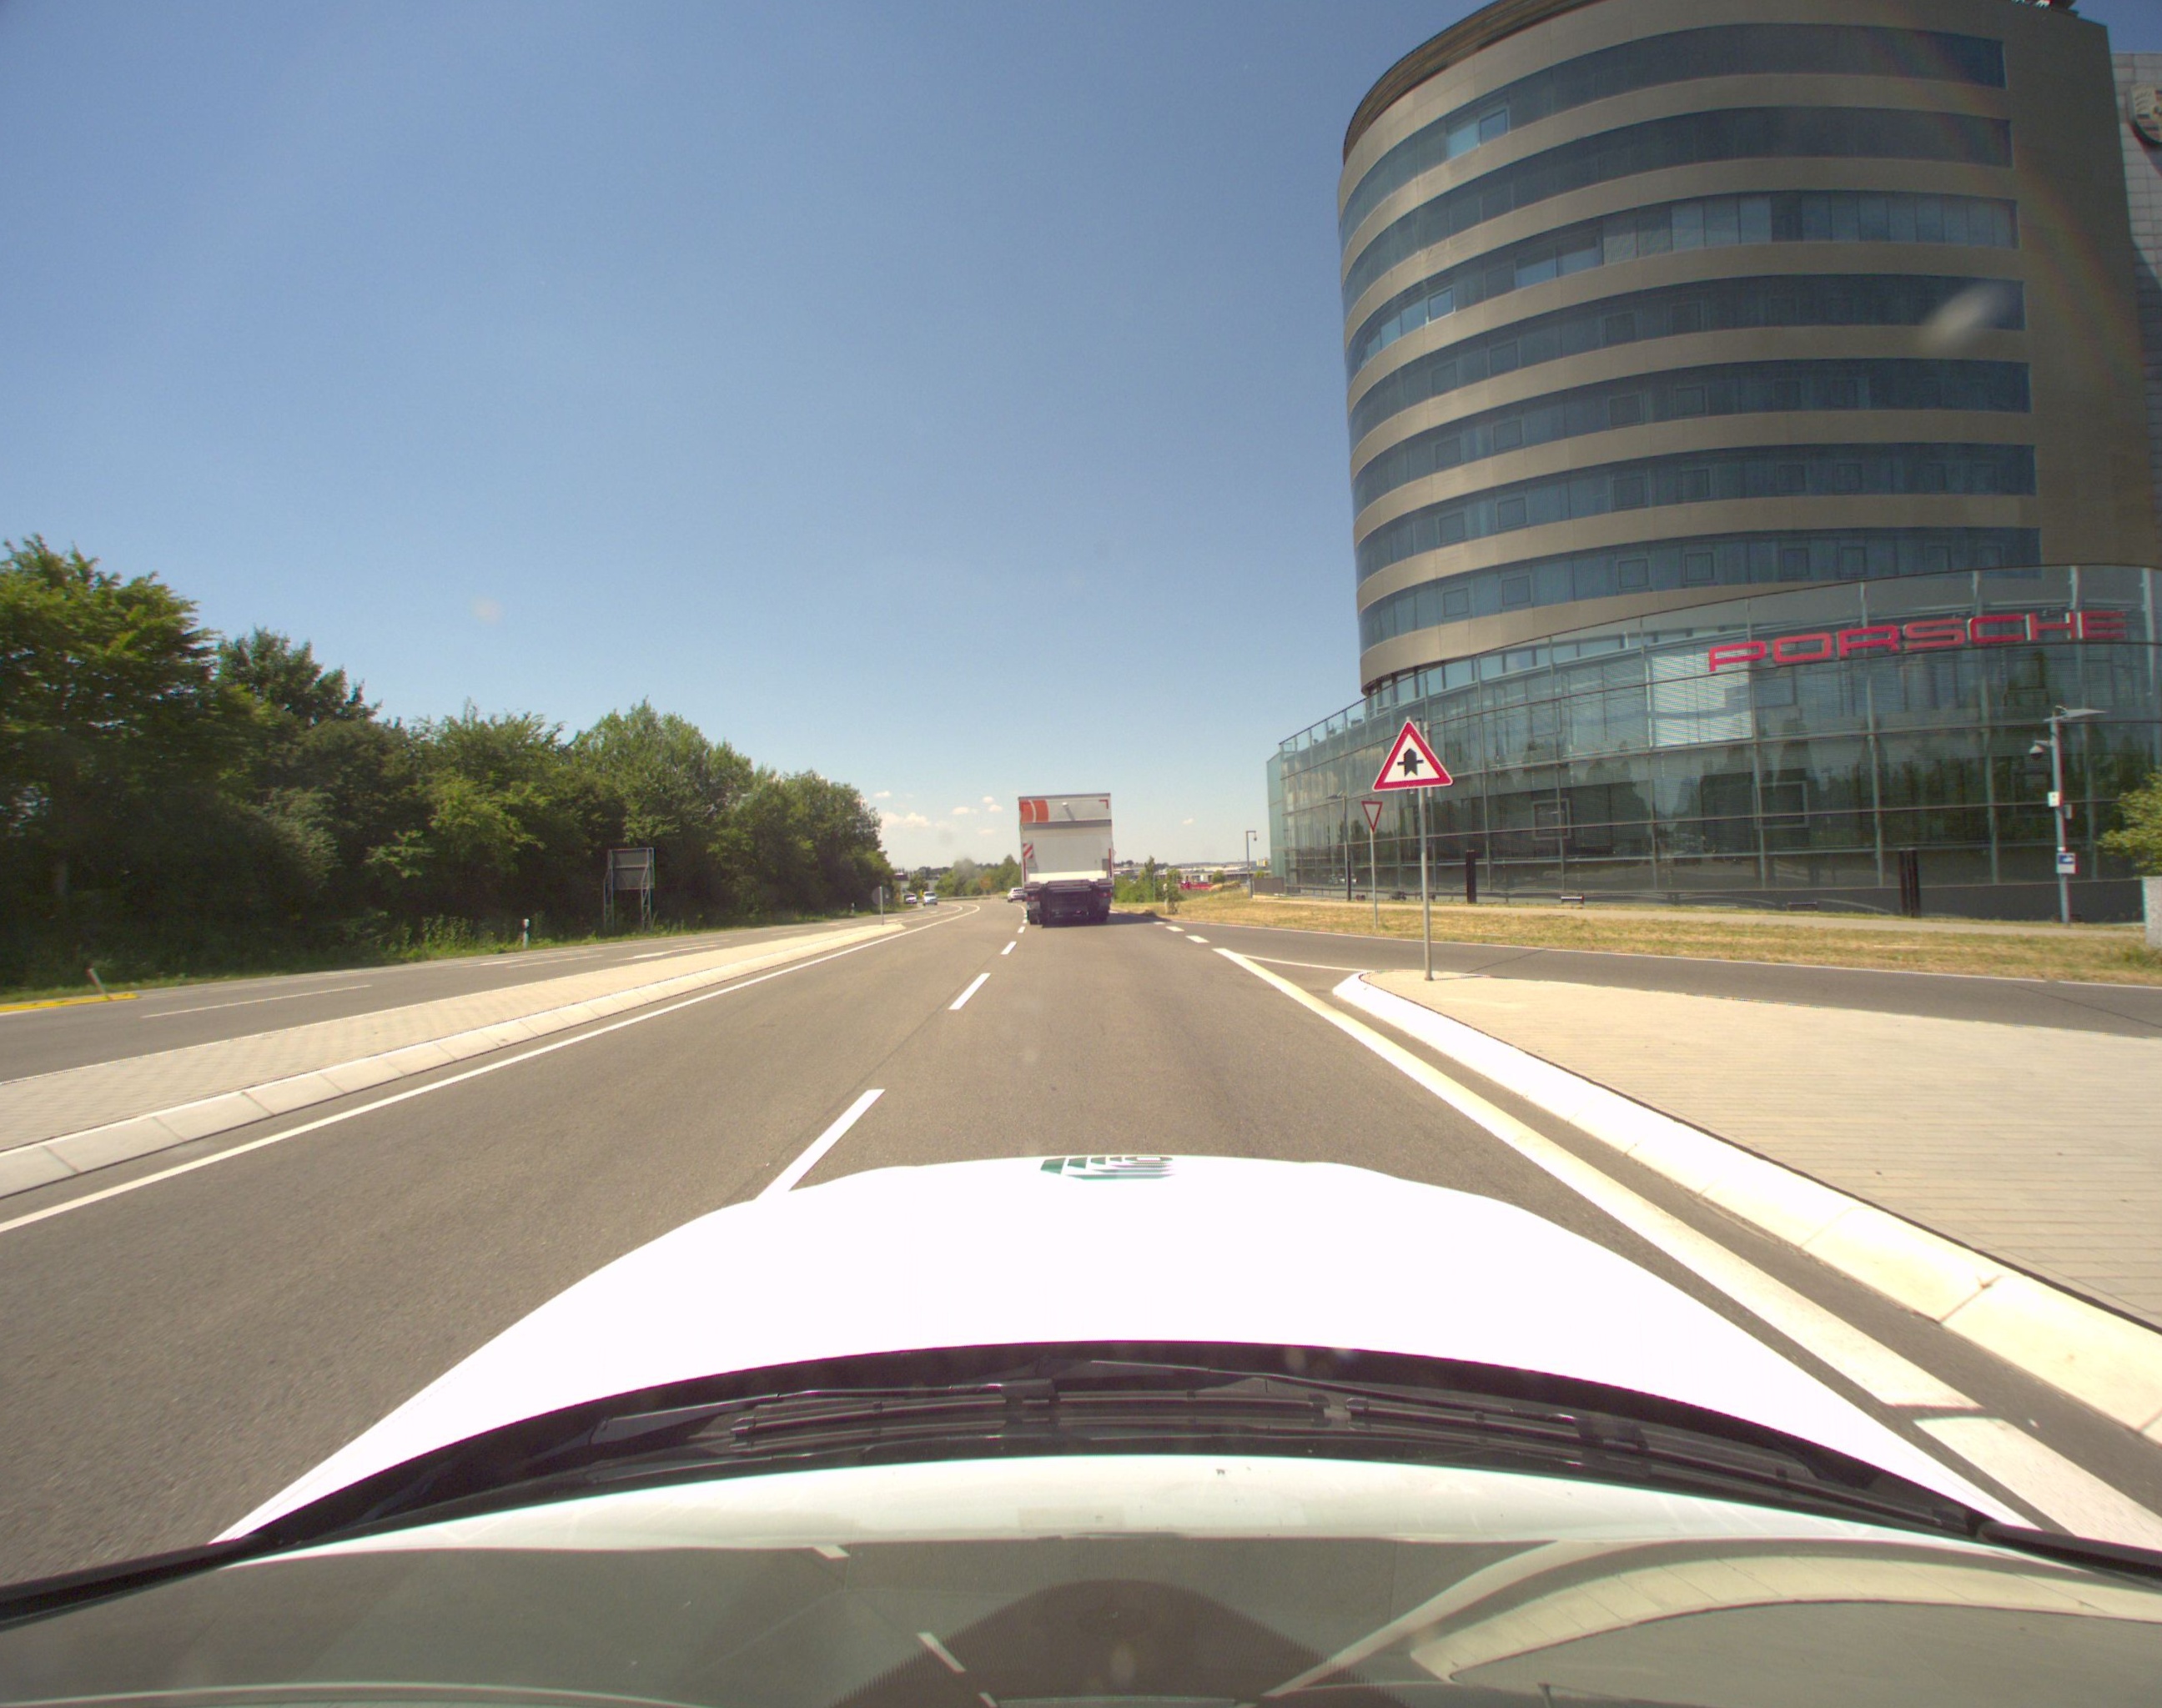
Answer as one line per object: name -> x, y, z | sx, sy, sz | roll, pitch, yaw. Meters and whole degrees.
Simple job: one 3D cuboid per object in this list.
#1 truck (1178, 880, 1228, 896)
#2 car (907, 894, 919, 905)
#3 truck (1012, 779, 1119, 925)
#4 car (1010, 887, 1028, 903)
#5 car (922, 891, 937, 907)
truck -> 25.849, 7.243, 173.163 | 10.269, 3.220, 2.471 | 0, -1, 24
car -> -29.373, 7.941, 142.459 | 1.805, 1.840, 3.981 | 0, -1, -14
truck -> -0.606, 0.078, 26.870 | 2.763, 3.860, 9.360 | -2, -2, -3
car -> -6.629, 4.383, 87.186 | 1.799, 1.557, 3.994 | 0, -1, -4
car -> -20.955, 6.164, 112.549 | 1.805, 1.970, 3.981 | 0, -1, -14
